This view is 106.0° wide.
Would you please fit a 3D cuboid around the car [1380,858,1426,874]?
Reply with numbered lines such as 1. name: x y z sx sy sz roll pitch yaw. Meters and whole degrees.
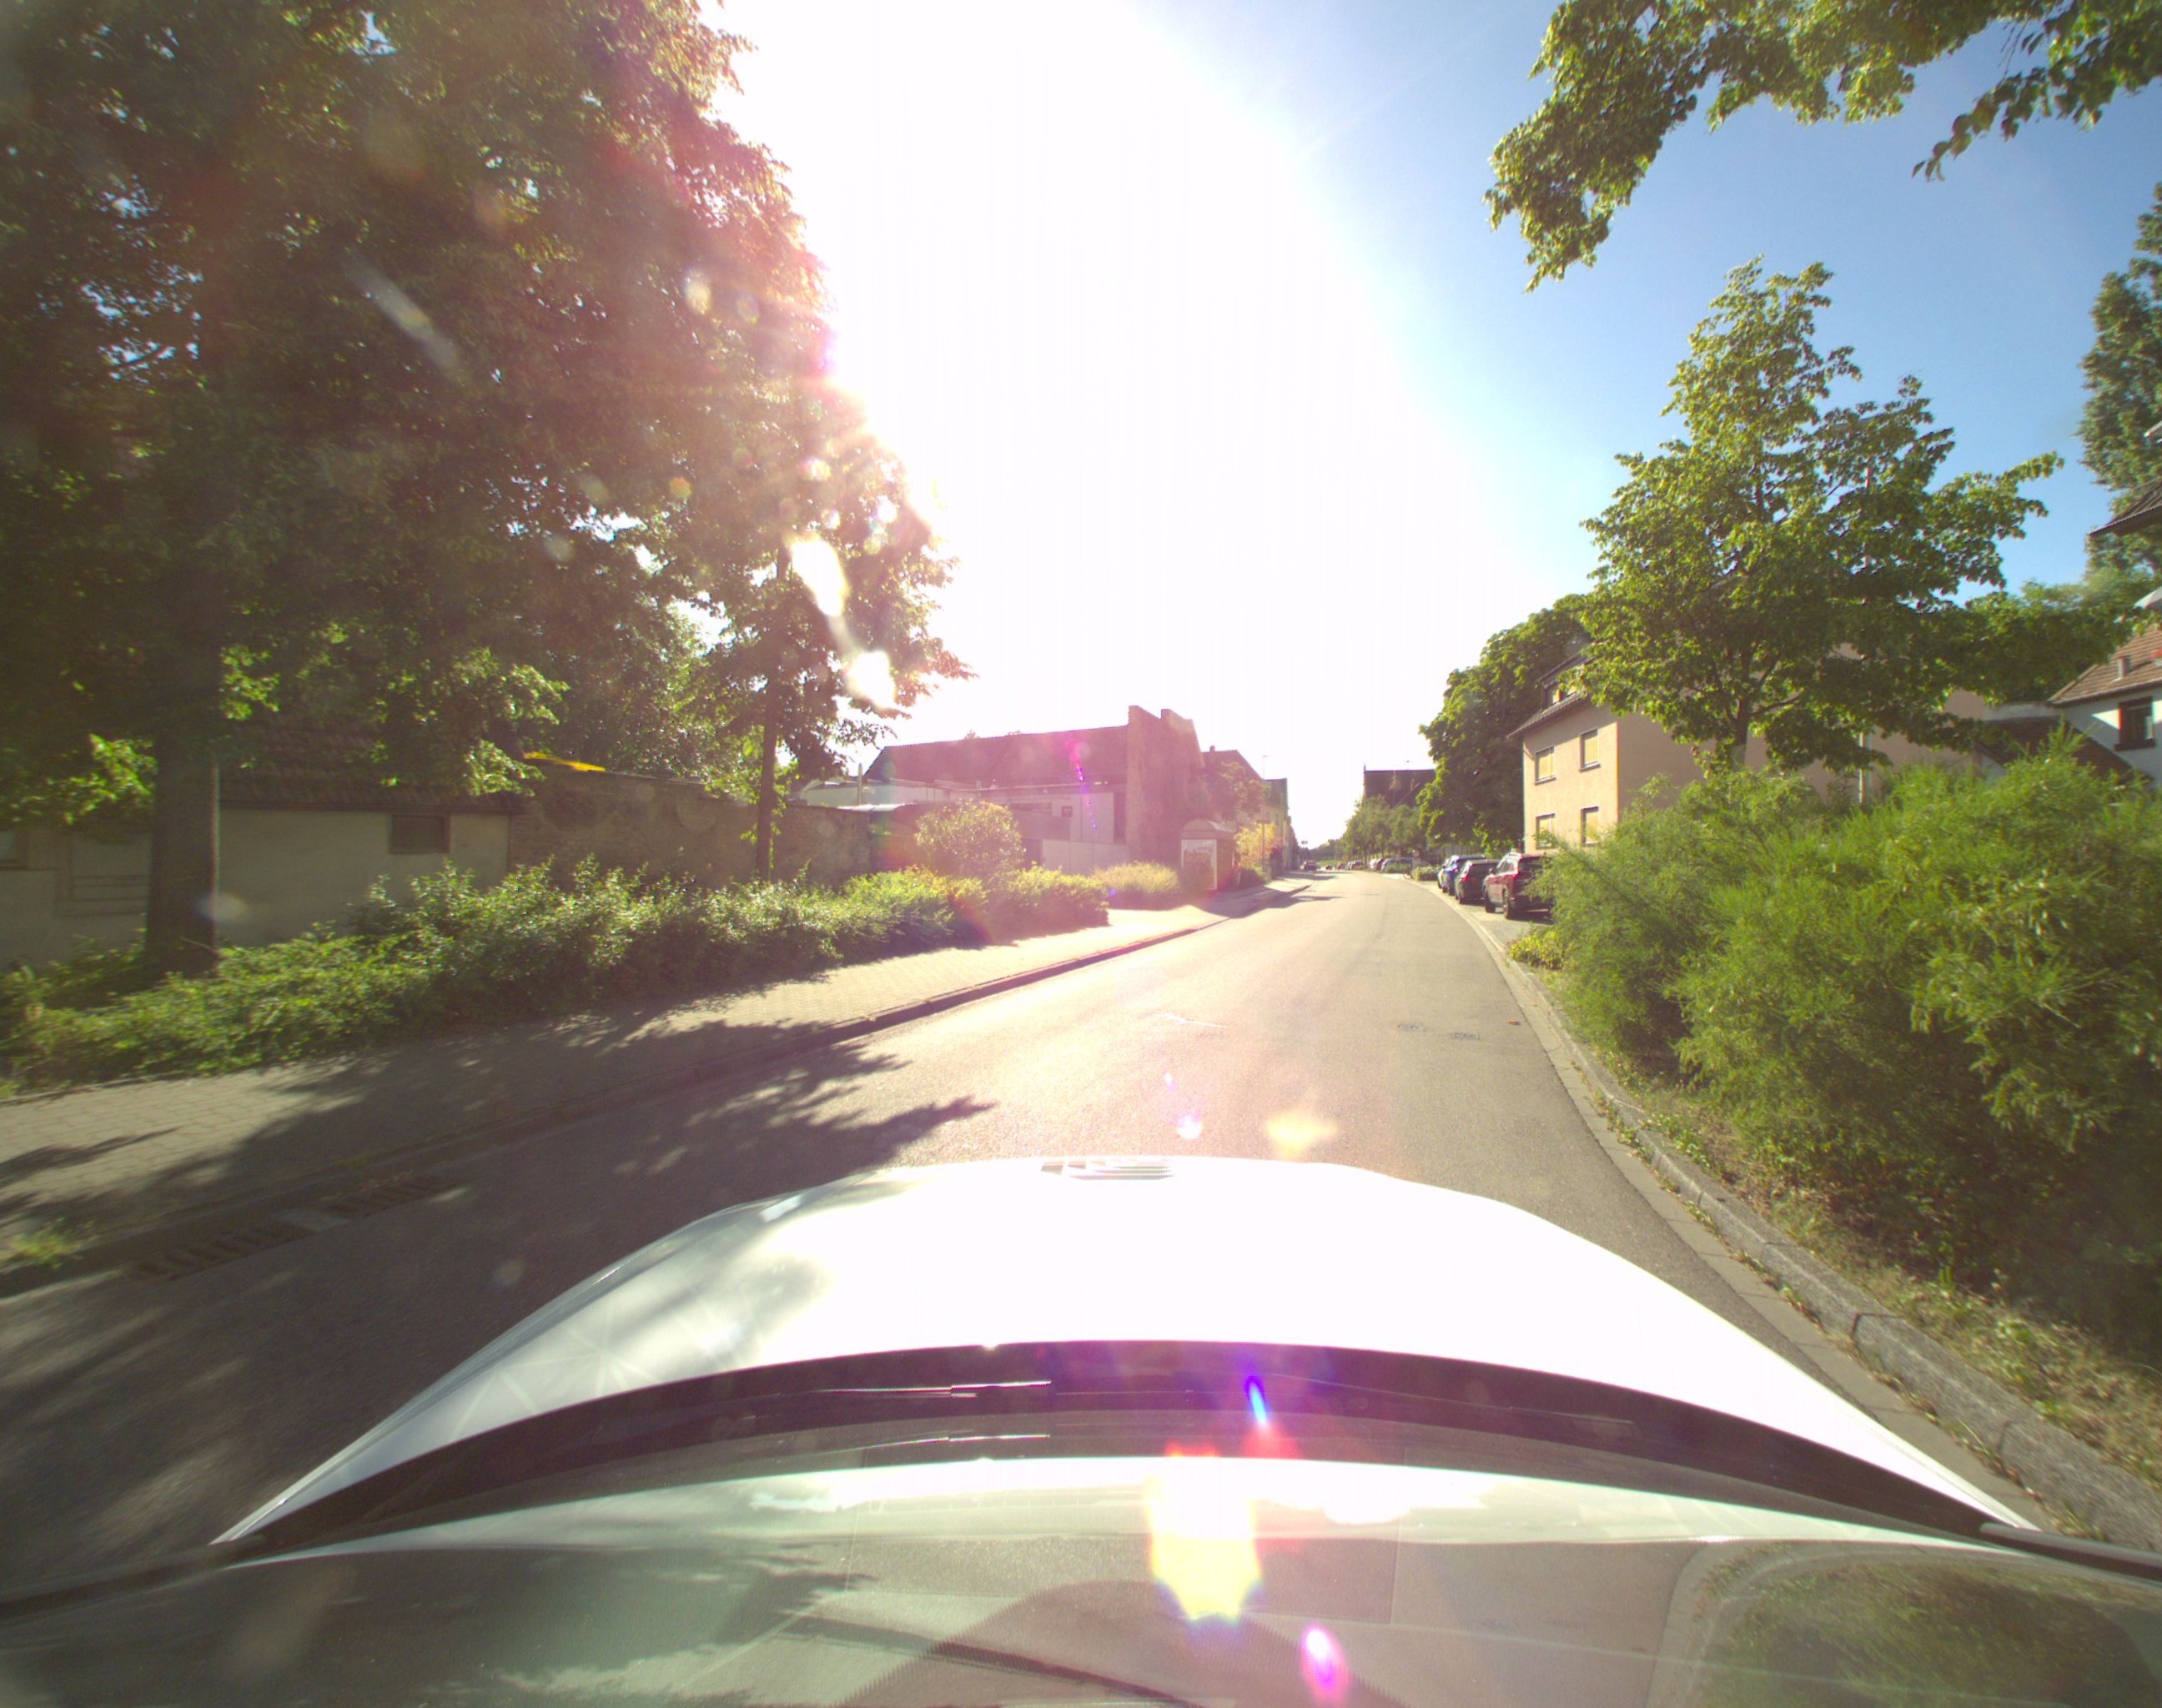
1. car: 32.562 1.211 82.490 3.964 1.564 1.919 1 -1 8

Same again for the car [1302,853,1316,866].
1. car: 27.964 0.671 99.881 1.602 1.474 4.016 1 0 15

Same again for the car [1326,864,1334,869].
1. car: 71.865 3.610 235.086 1.894 1.474 4.016 1 0 15

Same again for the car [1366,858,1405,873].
1. car: 35.163 1.339 94.084 3.964 1.564 1.919 1 -1 8

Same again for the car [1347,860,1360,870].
1. car: 47.654 1.905 142.483 1.894 1.564 4.016 1 0 15

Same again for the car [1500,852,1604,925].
1. car: 11.911 0.798 20.837 1.891 1.675 4.022 0 0 24

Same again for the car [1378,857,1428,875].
1. car: 30.117 1.121 76.221 3.964 1.564 1.919 1 -1 8

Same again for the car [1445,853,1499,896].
1. car: 16.093 0.796 33.690 1.891 1.675 4.022 0 0 24

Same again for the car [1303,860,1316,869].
1. car: 36.991 1.673 131.871 1.894 1.474 4.016 1 0 15

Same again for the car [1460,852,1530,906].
1. car: 13.887 0.798 27.536 1.891 1.675 4.022 0 0 24

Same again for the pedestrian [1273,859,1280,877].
1. pedestrian: 14.370 1.036 59.971 0.397 1.347 0.444 -1 -1 23

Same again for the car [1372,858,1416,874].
1. car: 33.002 1.243 85.956 3.964 1.564 1.919 1 -1 8

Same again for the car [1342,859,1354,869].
1. car: 50.794 1.923 155.104 1.894 1.820 4.016 1 0 15

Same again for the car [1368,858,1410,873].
1. car: 34.166 1.295 90.388 3.964 1.564 1.919 1 -1 8

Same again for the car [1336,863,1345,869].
1. car: 66.626 3.044 209.032 1.894 1.474 4.016 1 0 15
